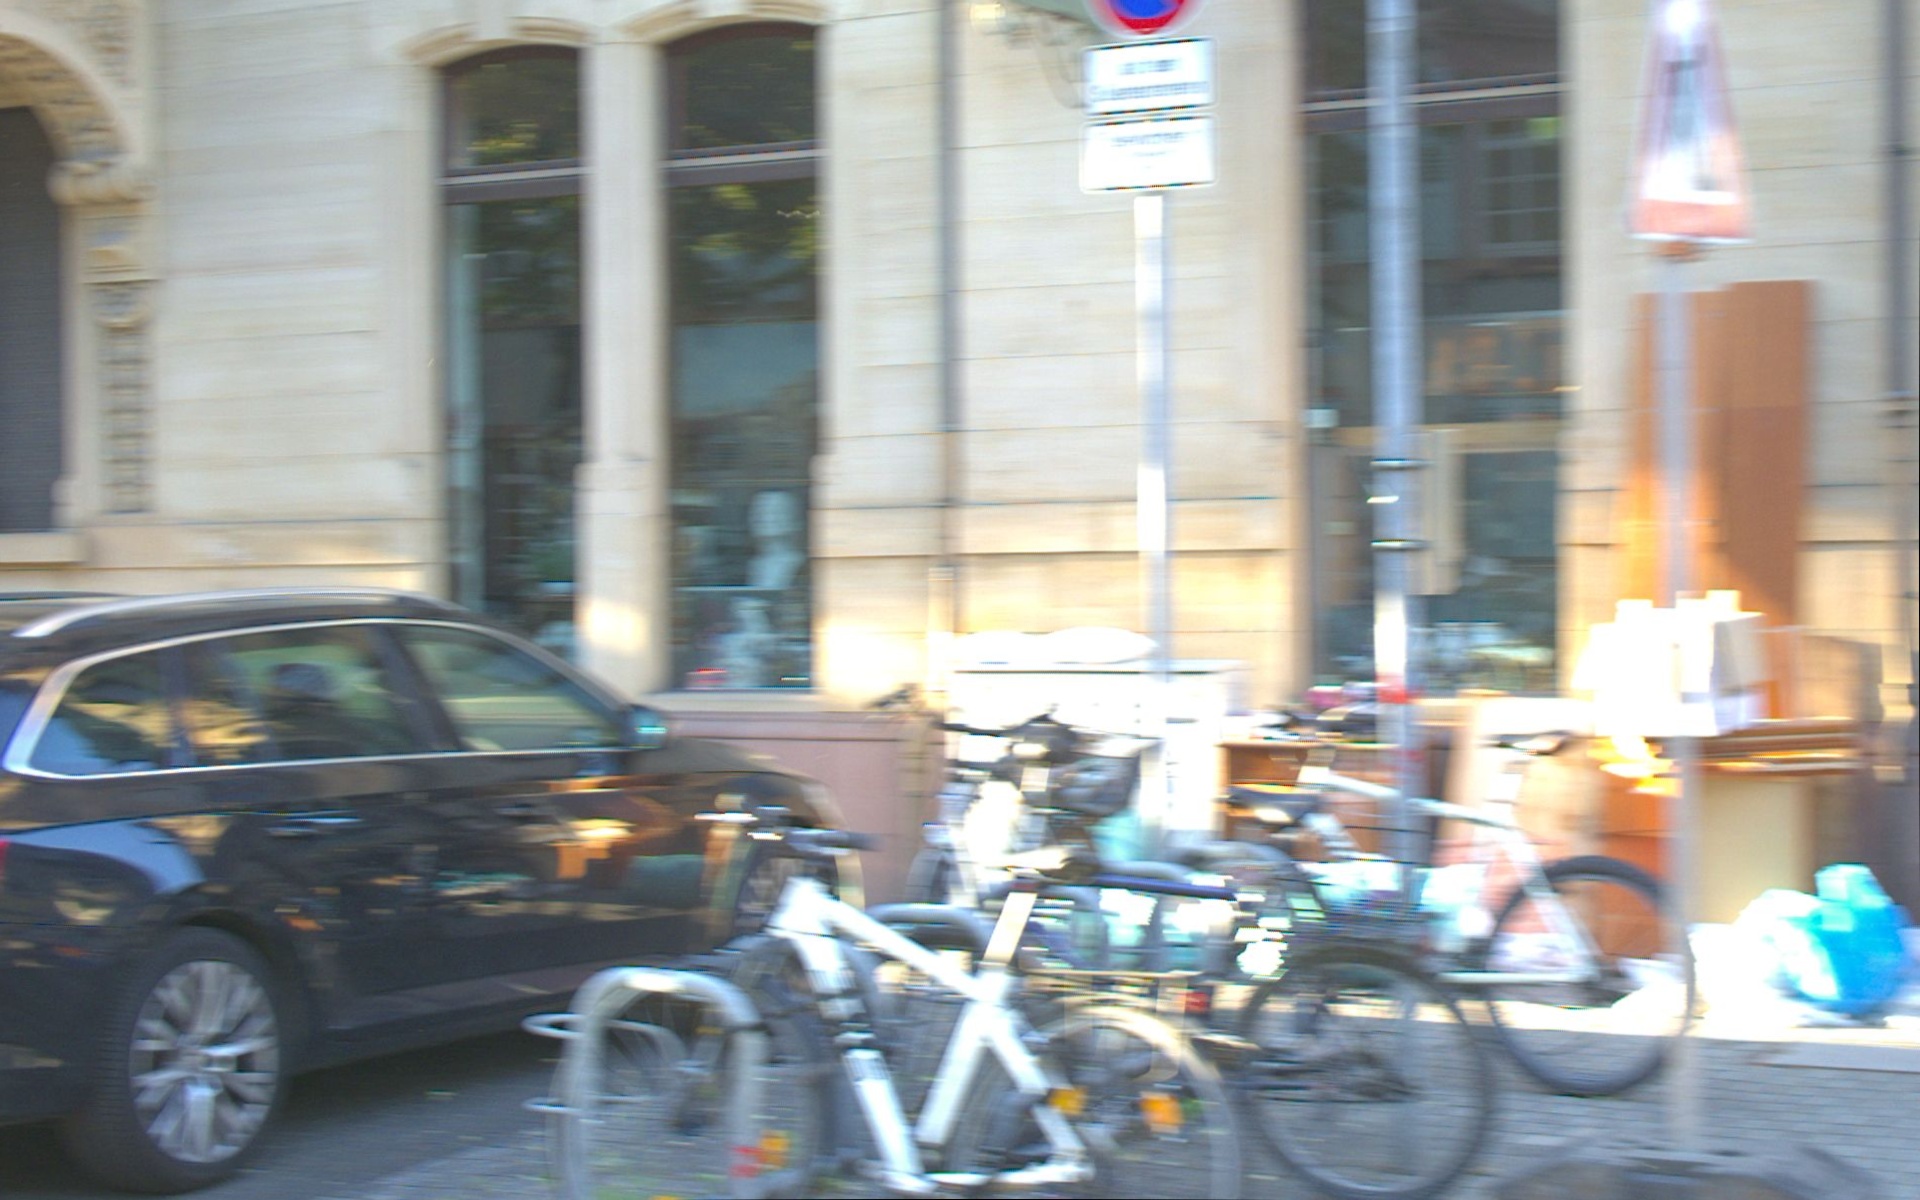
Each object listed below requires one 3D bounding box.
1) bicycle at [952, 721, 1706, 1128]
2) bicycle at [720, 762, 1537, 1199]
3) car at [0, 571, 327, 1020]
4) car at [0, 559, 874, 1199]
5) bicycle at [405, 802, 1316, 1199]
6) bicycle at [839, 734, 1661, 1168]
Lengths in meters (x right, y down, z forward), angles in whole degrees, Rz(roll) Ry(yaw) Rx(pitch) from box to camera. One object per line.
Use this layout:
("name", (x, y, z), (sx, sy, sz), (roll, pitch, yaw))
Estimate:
("bicycle", (1.025, 0.887, 9.820), (2.106, 1.036, 0.465), (0, 1, 27))
("bicycle", (0.386, 0.923, 8.162), (1.829, 1.010, 0.639), (0, 1, 27))
("car", (-4.298, 0.697, 11.503), (1.864, 1.474, 4.535), (-1, 1, 28))
("car", (-2.193, 0.688, 9.868), (1.908, 1.506, 4.535), (-1, 1, 28))
("bicycle", (-0.230, 0.980, 7.023), (1.829, 1.043, 0.570), (0, 1, 30))
("bicycle", (0.758, 0.895, 9.238), (2.106, 1.010, 0.639), (0, 1, 27))
